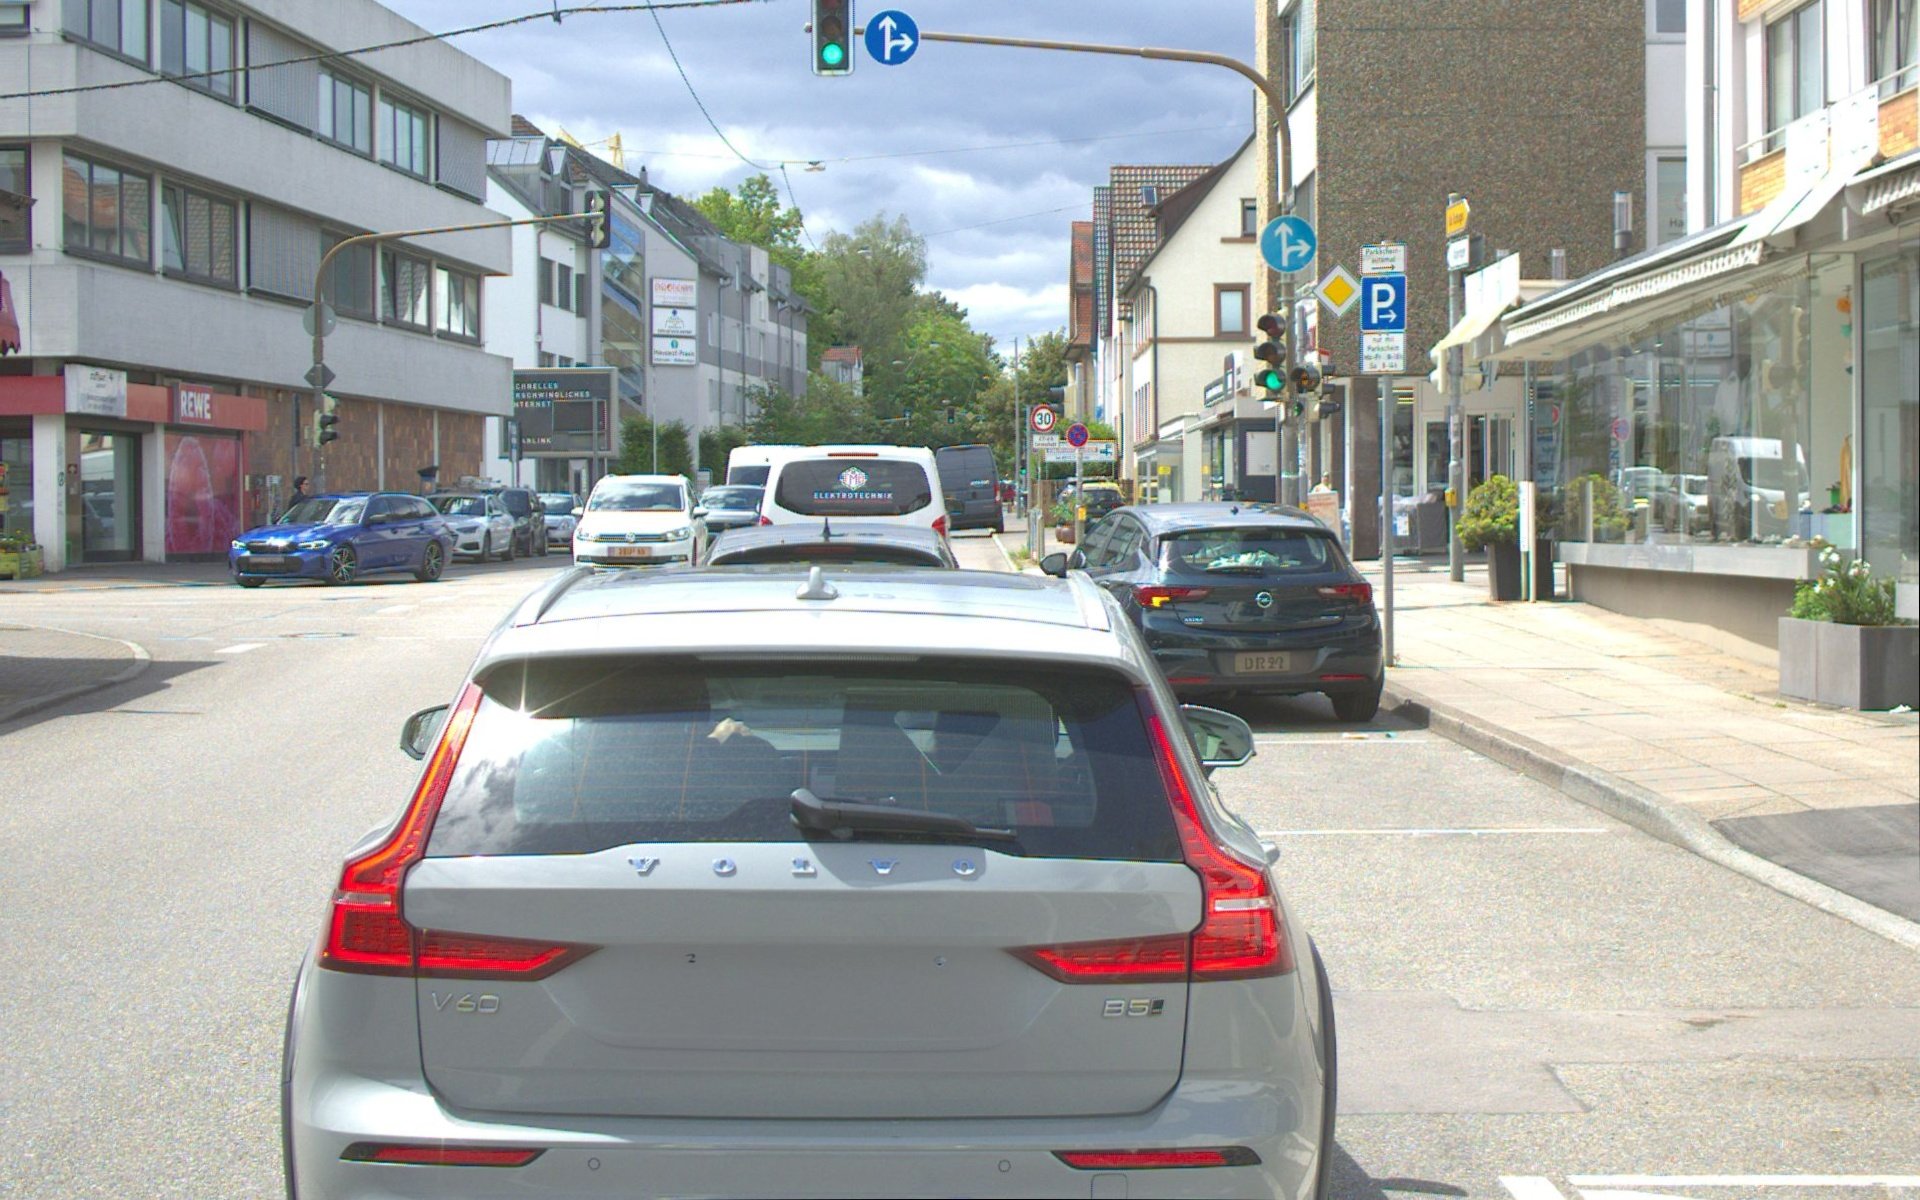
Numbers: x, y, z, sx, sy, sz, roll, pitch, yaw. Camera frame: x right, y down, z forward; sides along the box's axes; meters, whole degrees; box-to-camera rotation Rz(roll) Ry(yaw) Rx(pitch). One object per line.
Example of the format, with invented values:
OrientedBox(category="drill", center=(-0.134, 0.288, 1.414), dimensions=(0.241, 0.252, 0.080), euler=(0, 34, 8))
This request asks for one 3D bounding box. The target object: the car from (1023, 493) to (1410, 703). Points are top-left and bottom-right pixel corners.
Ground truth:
OrientedBox(category="car", center=(1.686, -0.041, 23.874), dimensions=(1.807, 1.342, 3.719), euler=(0, 1, -10))

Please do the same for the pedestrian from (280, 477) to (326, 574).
OrientedBox(category="pedestrian", center=(-11.234, -1.281, 58.772), dimensions=(0.619, 1.635, 0.660), euler=(-1, 2, 1))

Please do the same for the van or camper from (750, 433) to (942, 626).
OrientedBox(category="van or camper", center=(-1.104, -0.699, 34.665), dimensions=(1.819, 1.828, 4.000), euler=(0, 1, -1))

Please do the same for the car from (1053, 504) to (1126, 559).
OrientedBox(category="car", center=(3.558, -1.888, 95.037), dimensions=(1.710, 1.459, 4.000), euler=(1, 0, -2))

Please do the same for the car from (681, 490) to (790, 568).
OrientedBox(category="car", center=(-4.461, -1.408, 68.748), dimensions=(1.791, 1.506, 3.845), euler=(0, 1, 2))

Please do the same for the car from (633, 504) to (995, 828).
OrientedBox(category="car", center=(-0.689, 0.259, 17.599), dimensions=(1.650, 1.477, 3.608), euler=(1, 1, -1))

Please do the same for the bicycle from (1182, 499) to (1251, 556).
OrientedBox(category="bicycle", center=(5.216, -1.488, 70.007), dimensions=(0.554, 1.140, 2.301), euler=(-2, 2, -18))

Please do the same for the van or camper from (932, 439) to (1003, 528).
OrientedBox(category="van or camper", center=(0.255, -3.620, 106.694), dimensions=(2.123, 2.677, 4.781), euler=(-1, 2, 1))

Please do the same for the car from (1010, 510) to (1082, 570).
OrientedBox(category="car", center=(1.855, -1.302, 74.633), dimensions=(1.438, 1.283, 3.248), euler=(0, 1, -1))

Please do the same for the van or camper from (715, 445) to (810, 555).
OrientedBox(category="van or camper", center=(-4.754, -2.467, 83.473), dimensions=(2.148, 2.547, 5.439), euler=(-1, 3, -2))

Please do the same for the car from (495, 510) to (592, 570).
OrientedBox(category="car", center=(-10.106, -1.449, 83.661), dimensions=(1.755, 1.421, 3.862), euler=(0, 1, 2))

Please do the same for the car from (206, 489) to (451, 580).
OrientedBox(category="car", center=(-9.899, -1.059, 54.252), dimensions=(1.995, 1.333, 4.353), euler=(0, 2, 17))

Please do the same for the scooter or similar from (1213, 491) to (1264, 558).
OrientedBox(category="scooter or similar", center=(5.395, -1.460, 66.643), dimensions=(0.340, 1.249, 1.246), euler=(-3, 1, -26))

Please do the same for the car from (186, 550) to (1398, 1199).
OrientedBox(category="car", center=(-0.276, 0.637, 7.219), dimensions=(1.836, 1.481, 4.000), euler=(0, 1, -1))

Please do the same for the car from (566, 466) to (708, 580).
OrientedBox(category="car", center=(-4.876, -1.210, 52.407), dimensions=(1.775, 1.607, 4.120), euler=(-1, 3, 0))

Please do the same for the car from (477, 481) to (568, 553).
OrientedBox(category="car", center=(-9.841, -1.890, 77.457), dimensions=(1.607, 1.537, 2.944), euler=(1, 2, 1))

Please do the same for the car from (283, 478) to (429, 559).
OrientedBox(category="car", center=(-11.448, -1.562, 65.389), dimensions=(1.785, 1.459, 4.086), euler=(1, 2, 4))

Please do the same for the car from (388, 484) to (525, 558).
OrientedBox(category="car", center=(-10.439, -1.666, 71.567), dimensions=(1.904, 1.438, 4.443), euler=(1, 2, 4))
